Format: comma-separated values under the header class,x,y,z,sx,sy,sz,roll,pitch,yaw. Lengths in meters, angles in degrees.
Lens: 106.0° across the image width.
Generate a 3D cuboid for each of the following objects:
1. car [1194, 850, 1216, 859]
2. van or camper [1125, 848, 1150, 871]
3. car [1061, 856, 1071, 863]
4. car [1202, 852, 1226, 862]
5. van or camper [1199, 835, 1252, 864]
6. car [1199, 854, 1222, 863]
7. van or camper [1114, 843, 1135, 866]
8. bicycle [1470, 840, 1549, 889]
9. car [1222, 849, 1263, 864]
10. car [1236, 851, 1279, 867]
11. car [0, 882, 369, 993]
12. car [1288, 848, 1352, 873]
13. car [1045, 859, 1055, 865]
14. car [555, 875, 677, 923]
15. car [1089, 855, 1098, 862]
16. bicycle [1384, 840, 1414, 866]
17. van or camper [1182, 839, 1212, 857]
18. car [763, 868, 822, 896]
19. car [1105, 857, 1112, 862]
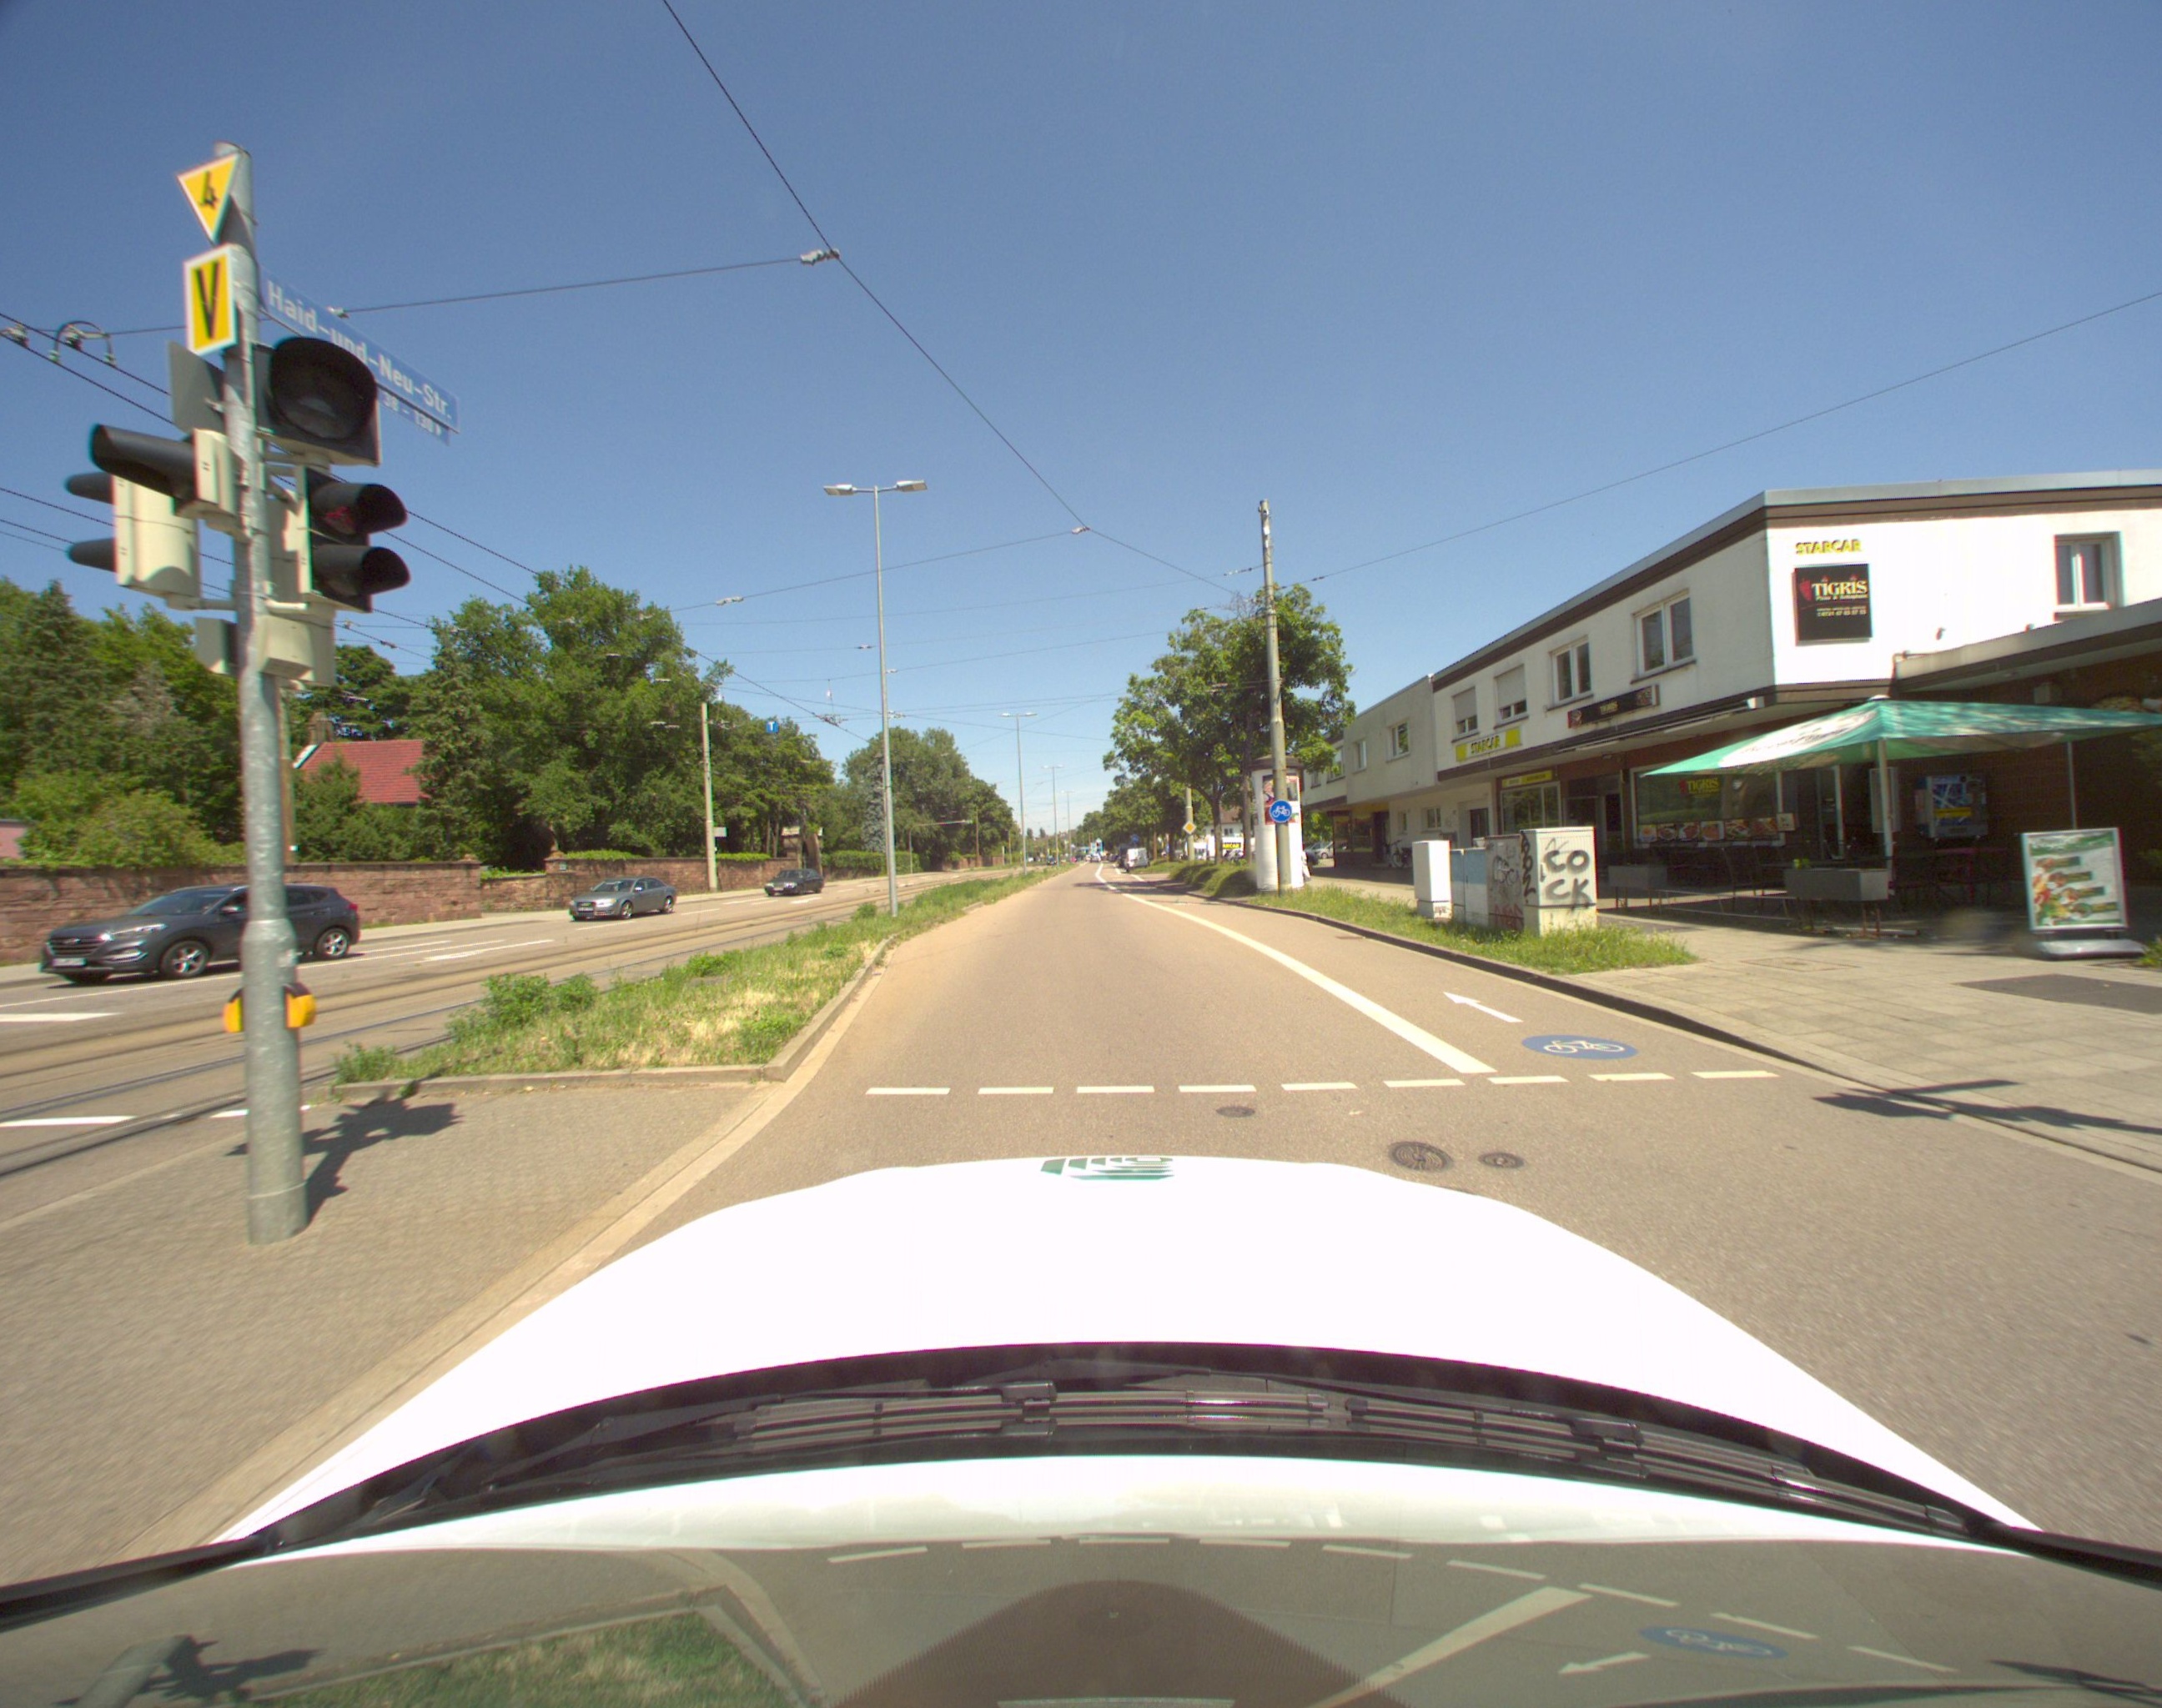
class,x,y,z,sx,sy,sz,roll,pitch,yaw
car,15.458,0.055,101.589,2.577,0.962,1.150,-2,0,2
van or camper,4.677,0.412,67.749,1.915,1.772,4.002,-2,0,2
car,-2.121,0.786,115.521,1.289,1.054,2.597,-2,0,-4
car,15.275,0.361,93.572,2.574,0.962,1.151,-2,-1,6
van or camper,14.269,-0.435,80.623,4.741,2.671,2.135,-2,0,-1
car,15.327,0.500,96.344,2.577,0.962,1.150,-2,0,2
van or camper,4.800,0.060,90.212,1.988,2.464,3.998,-2,0,-1
bicycle,11.175,0.259,21.353,0.983,1.164,2.643,-2,0,9
car,14.778,0.269,74.578,3.524,1.222,1.479,-3,-1,6
car,15.384,0.463,71.163,3.524,1.222,1.479,-2,-1,6
car,-16.440,1.419,15.381,1.812,1.603,4.523,-2,0,3
car,15.184,0.402,51.861,3.601,1.351,1.488,-3,0,-5
car,-5.151,1.331,136.178,1.487,1.046,3.580,-2,0,1
car,-16.074,1.514,28.404,1.634,1.421,4.172,-1,0,4
car,2.481,0.899,164.678,1.632,1.351,3.840,-2,0,-1
bicycle,13.810,-0.018,35.445,0.505,1.065,1.863,-1,-1,-2
van or camper,14.956,-0.713,104.991,3.546,2.145,1.602,-2,-1,-1
car,-15.493,1.464,43.926,1.635,1.399,4.116,-1,0,1
car,6.913,1.375,202.865,1.519,1.296,3.491,-2,0,-1
